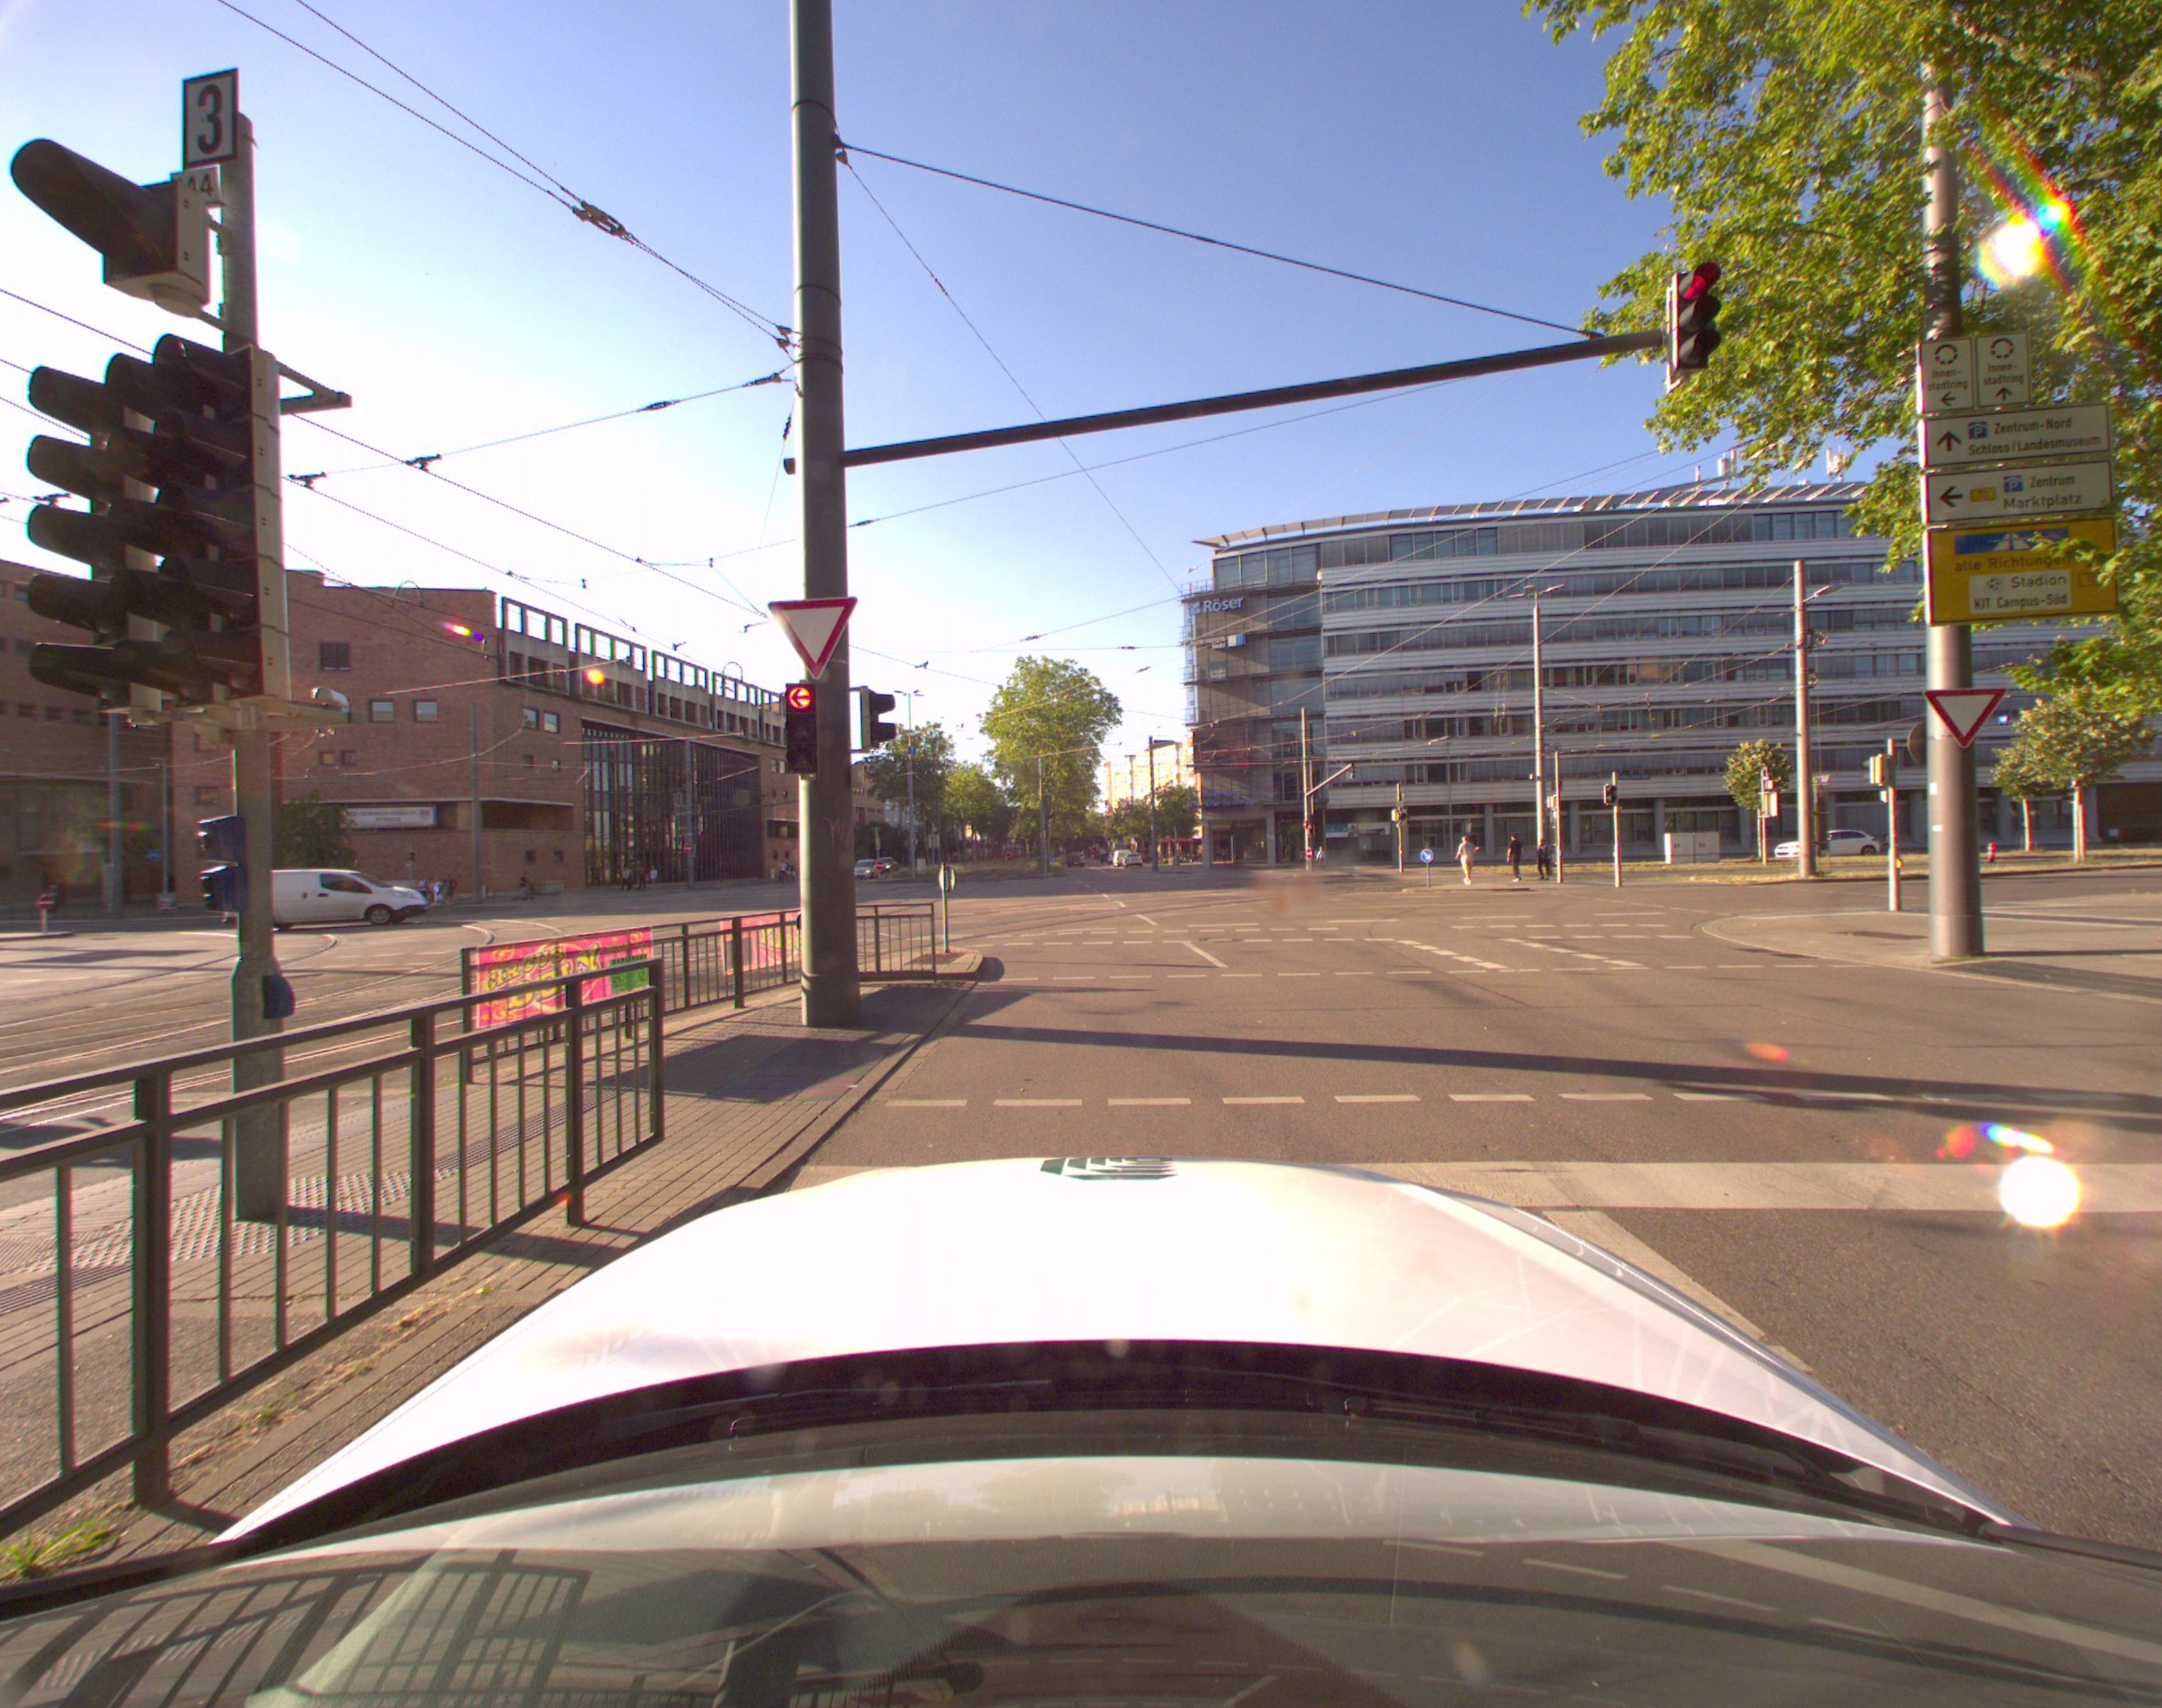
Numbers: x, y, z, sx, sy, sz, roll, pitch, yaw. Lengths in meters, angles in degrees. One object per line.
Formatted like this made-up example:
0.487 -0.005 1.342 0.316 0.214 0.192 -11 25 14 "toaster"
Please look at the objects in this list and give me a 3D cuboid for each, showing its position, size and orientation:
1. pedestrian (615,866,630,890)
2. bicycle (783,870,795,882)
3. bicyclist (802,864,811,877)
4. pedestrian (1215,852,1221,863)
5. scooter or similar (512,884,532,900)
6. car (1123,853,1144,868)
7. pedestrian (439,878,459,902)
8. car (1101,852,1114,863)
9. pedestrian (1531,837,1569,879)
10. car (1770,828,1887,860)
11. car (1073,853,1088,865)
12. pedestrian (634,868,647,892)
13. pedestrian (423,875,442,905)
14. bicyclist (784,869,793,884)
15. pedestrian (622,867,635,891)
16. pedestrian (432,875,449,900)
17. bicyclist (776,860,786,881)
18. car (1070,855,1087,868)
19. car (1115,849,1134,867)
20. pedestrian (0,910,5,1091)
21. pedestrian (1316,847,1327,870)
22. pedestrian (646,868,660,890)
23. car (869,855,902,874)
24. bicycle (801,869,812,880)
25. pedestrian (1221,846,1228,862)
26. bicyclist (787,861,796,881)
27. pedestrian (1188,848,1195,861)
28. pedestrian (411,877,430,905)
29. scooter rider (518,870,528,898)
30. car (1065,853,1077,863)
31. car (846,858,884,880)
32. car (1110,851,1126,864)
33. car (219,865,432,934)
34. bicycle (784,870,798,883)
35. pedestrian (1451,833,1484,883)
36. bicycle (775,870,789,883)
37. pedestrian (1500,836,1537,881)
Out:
-32.545 1.710 57.850 0.647 1.683 0.621 -2 0 -2 "pedestrian"
-24.879 1.883 69.402 0.466 0.963 1.320 -2 0 2 "bicycle"
-24.331 1.447 72.232 0.503 1.179 0.581 -2 0 1 "bicyclist"
20.646 0.537 122.334 0.741 1.714 0.612 -2 0 1 "pedestrian"
-33.726 2.282 49.145 0.956 0.899 0.173 -2 0 -45 "scooter or similar"
5.290 0.625 82.819 1.986 1.376 4.002 -2 0 2 "car"
-36.535 2.077 47.089 0.597 1.339 0.684 -2 0 17 "pedestrian"
4.090 0.489 126.777 1.986 1.618 4.002 -2 0 2 "car"
18.016 0.154 31.307 0.943 1.564 0.899 -2 0 9 "pedestrian"
39.001 -0.509 42.597 4.272 1.488 1.765 -2 0 7 "car"
-0.083 0.629 107.927 1.791 1.442 4.002 -2 0 2 "car"
-31.499 1.866 58.192 0.588 1.683 0.550 -2 0 -2 "pedestrian"
-37.550 2.085 47.168 0.597 1.648 0.549 -2 0 1 "pedestrian"
-24.900 1.903 69.328 0.503 1.304 0.581 -2 0 1 "bicyclist"
-33.323 1.851 59.982 0.569 1.683 0.550 -2 0 5 "pedestrian"
-38.035 1.971 48.354 0.568 1.453 0.612 -2 0 -13 "pedestrian"
-24.371 1.345 66.208 0.534 1.731 0.581 -2 0 1 "bicyclist"
-0.252 0.871 95.608 1.791 1.442 4.002 -2 0 2 "car"
4.744 0.465 89.637 1.986 1.860 4.002 -2 0 2 "car"
-8.815 1.015 5.933 0.954 1.647 0.718 -2 0 1 "pedestrian"
16.026 0.271 54.268 0.608 1.507 0.580 -2 0 9 "pedestrian"
-31.483 1.823 59.944 0.607 1.625 0.619 -2 0 7 "pedestrian"
-18.115 0.967 75.524 1.987 1.640 4.001 -2 0 1 "car"
-24.328 1.805 72.240 0.449 0.963 1.348 -2 0 2 "bicycle"
13.316 0.010 75.580 0.608 1.507 0.580 -2 0 9 "pedestrian"
-23.647 1.373 66.455 0.456 1.603 0.581 -2 0 1 "bicyclist"
14.177 0.057 104.798 0.741 1.714 0.612 -2 0 1 "pedestrian"
-38.456 2.144 47.426 0.594 1.614 0.589 -2 0 1 "pedestrian"
-33.715 1.810 49.183 0.441 1.647 0.226 -2 0 -44 "scooter rider"
-1.519 0.638 127.743 1.792 1.442 3.999 0 -1 0 "car"
-18.005 1.223 67.949 1.987 1.640 4.001 -2 0 1 "car"
4.820 0.482 105.293 1.986 1.618 4.002 -2 0 2 "car"
-23.473 1.354 25.567 4.535 1.867 1.746 -2 0 -27 "car"
-23.635 1.828 66.449 0.471 0.963 1.576 -2 0 2 "bicycle"
14.439 0.151 30.444 0.858 1.788 0.874 -2 0 9 "pedestrian"
-24.340 1.847 66.308 0.540 0.963 1.587 -2 0 2 "bicycle"
16.962 0.159 31.606 0.907 1.685 1.038 -2 0 9 "pedestrian"
